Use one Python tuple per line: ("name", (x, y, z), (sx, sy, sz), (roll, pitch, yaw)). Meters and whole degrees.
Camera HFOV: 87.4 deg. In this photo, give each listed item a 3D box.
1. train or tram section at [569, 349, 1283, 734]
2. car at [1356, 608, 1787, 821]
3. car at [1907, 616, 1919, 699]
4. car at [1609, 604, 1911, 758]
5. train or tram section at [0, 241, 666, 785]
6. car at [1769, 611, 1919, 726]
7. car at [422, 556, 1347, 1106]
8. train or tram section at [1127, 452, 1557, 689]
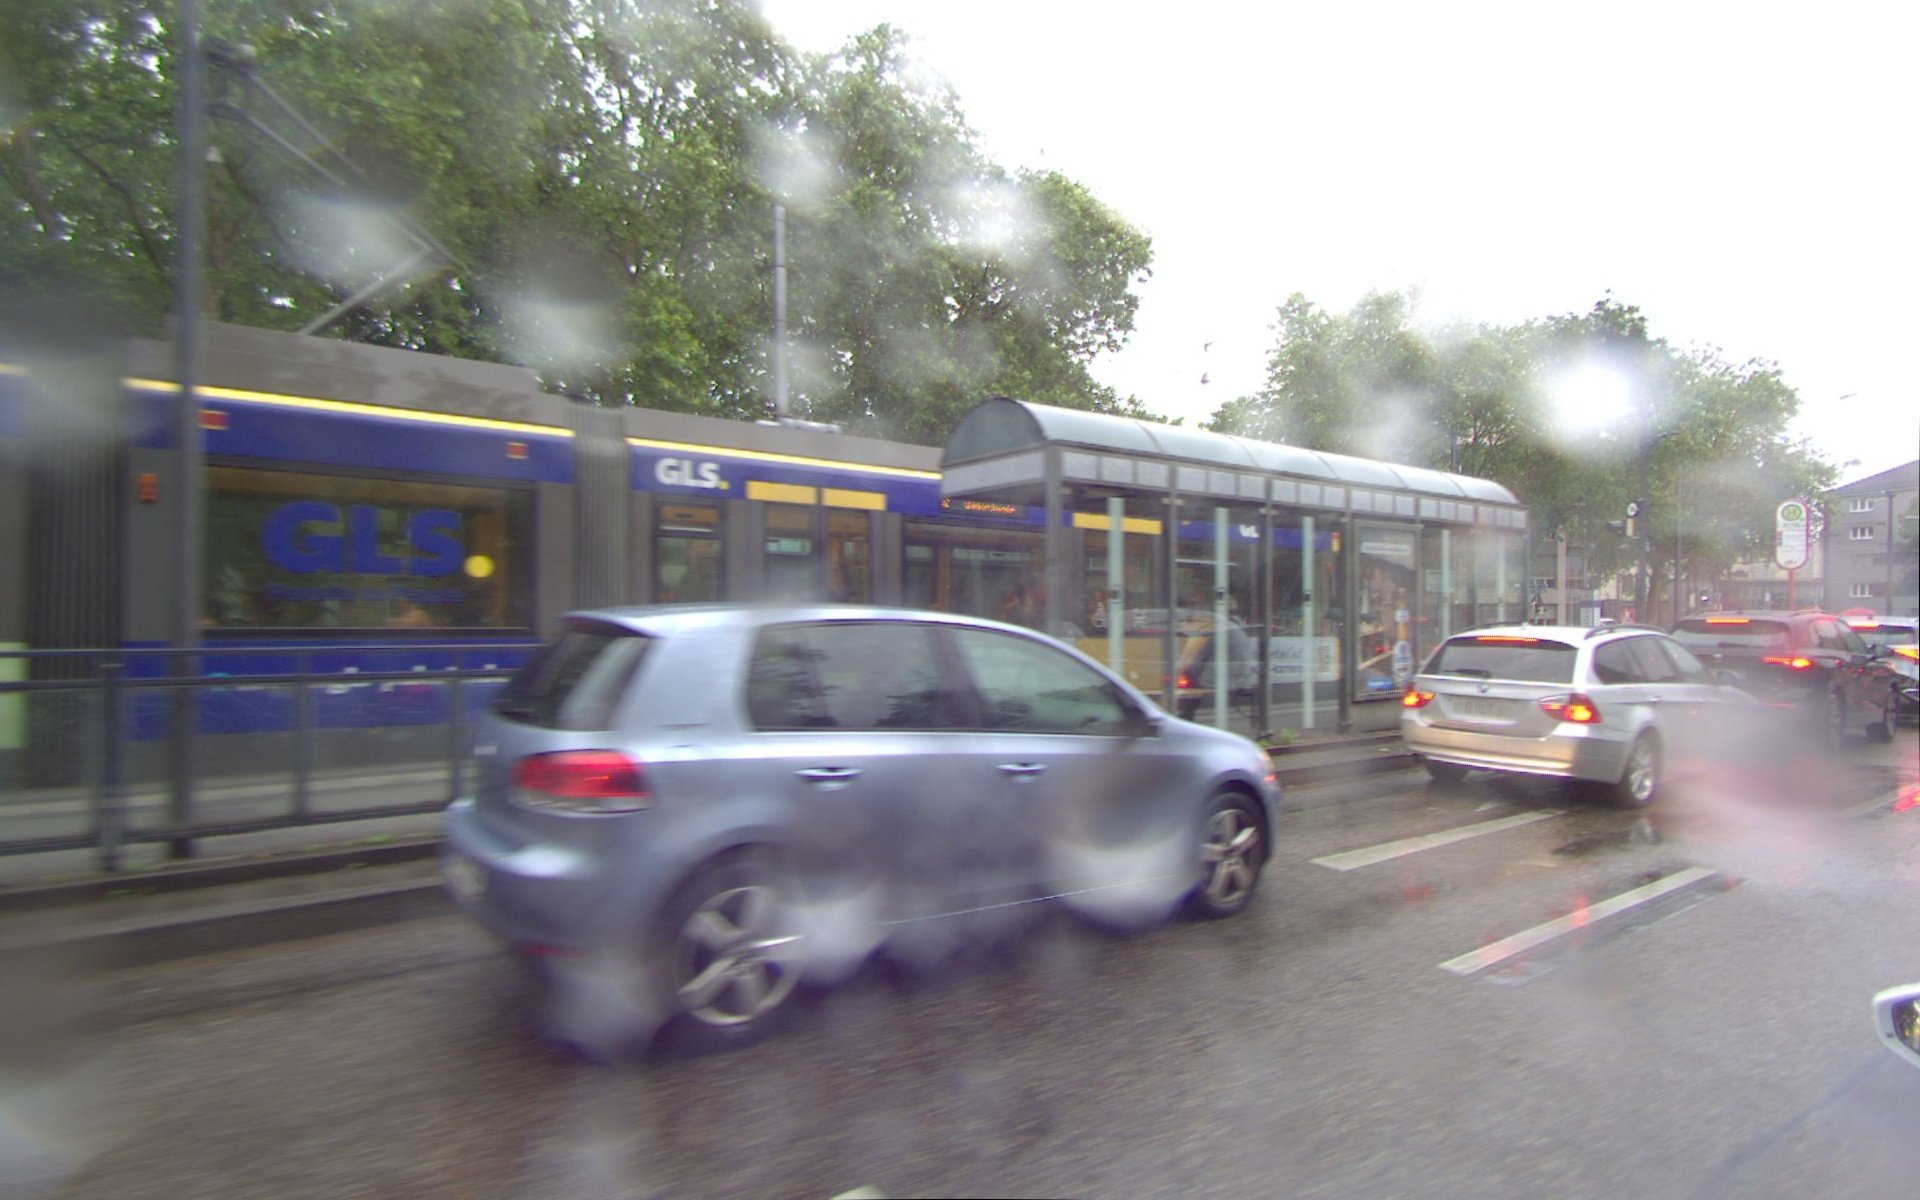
("train or tram section", (0.110, -0.440, 12.573), (8.901, 3.329, 2.957), (1, -2, -37))
("car", (5.805, 0.855, 9.379), (4.226, 1.492, 1.979), (1, 1, -37))
("car", (20.753, 1.189, 20.031), (4.252, 1.599, 1.979), (2, 0, -37))
("car", (10.338, 0.931, 12.893), (4.252, 1.599, 1.979), (2, 0, -37))
("train or tram section", (-6.738, -0.500, 7.334), (8.353, 3.329, 2.957), (1, -2, -37))
("car", (15.150, 1.057, 16.413), (4.252, 1.599, 1.979), (2, 0, -37))
("car", (-0.178, 0.696, 4.890), (4.093, 1.558, 1.980), (0, -2, -37))
("train or tram section", (7.155, -0.347, 17.990), (8.901, 3.329, 2.957), (1, -2, -37))
